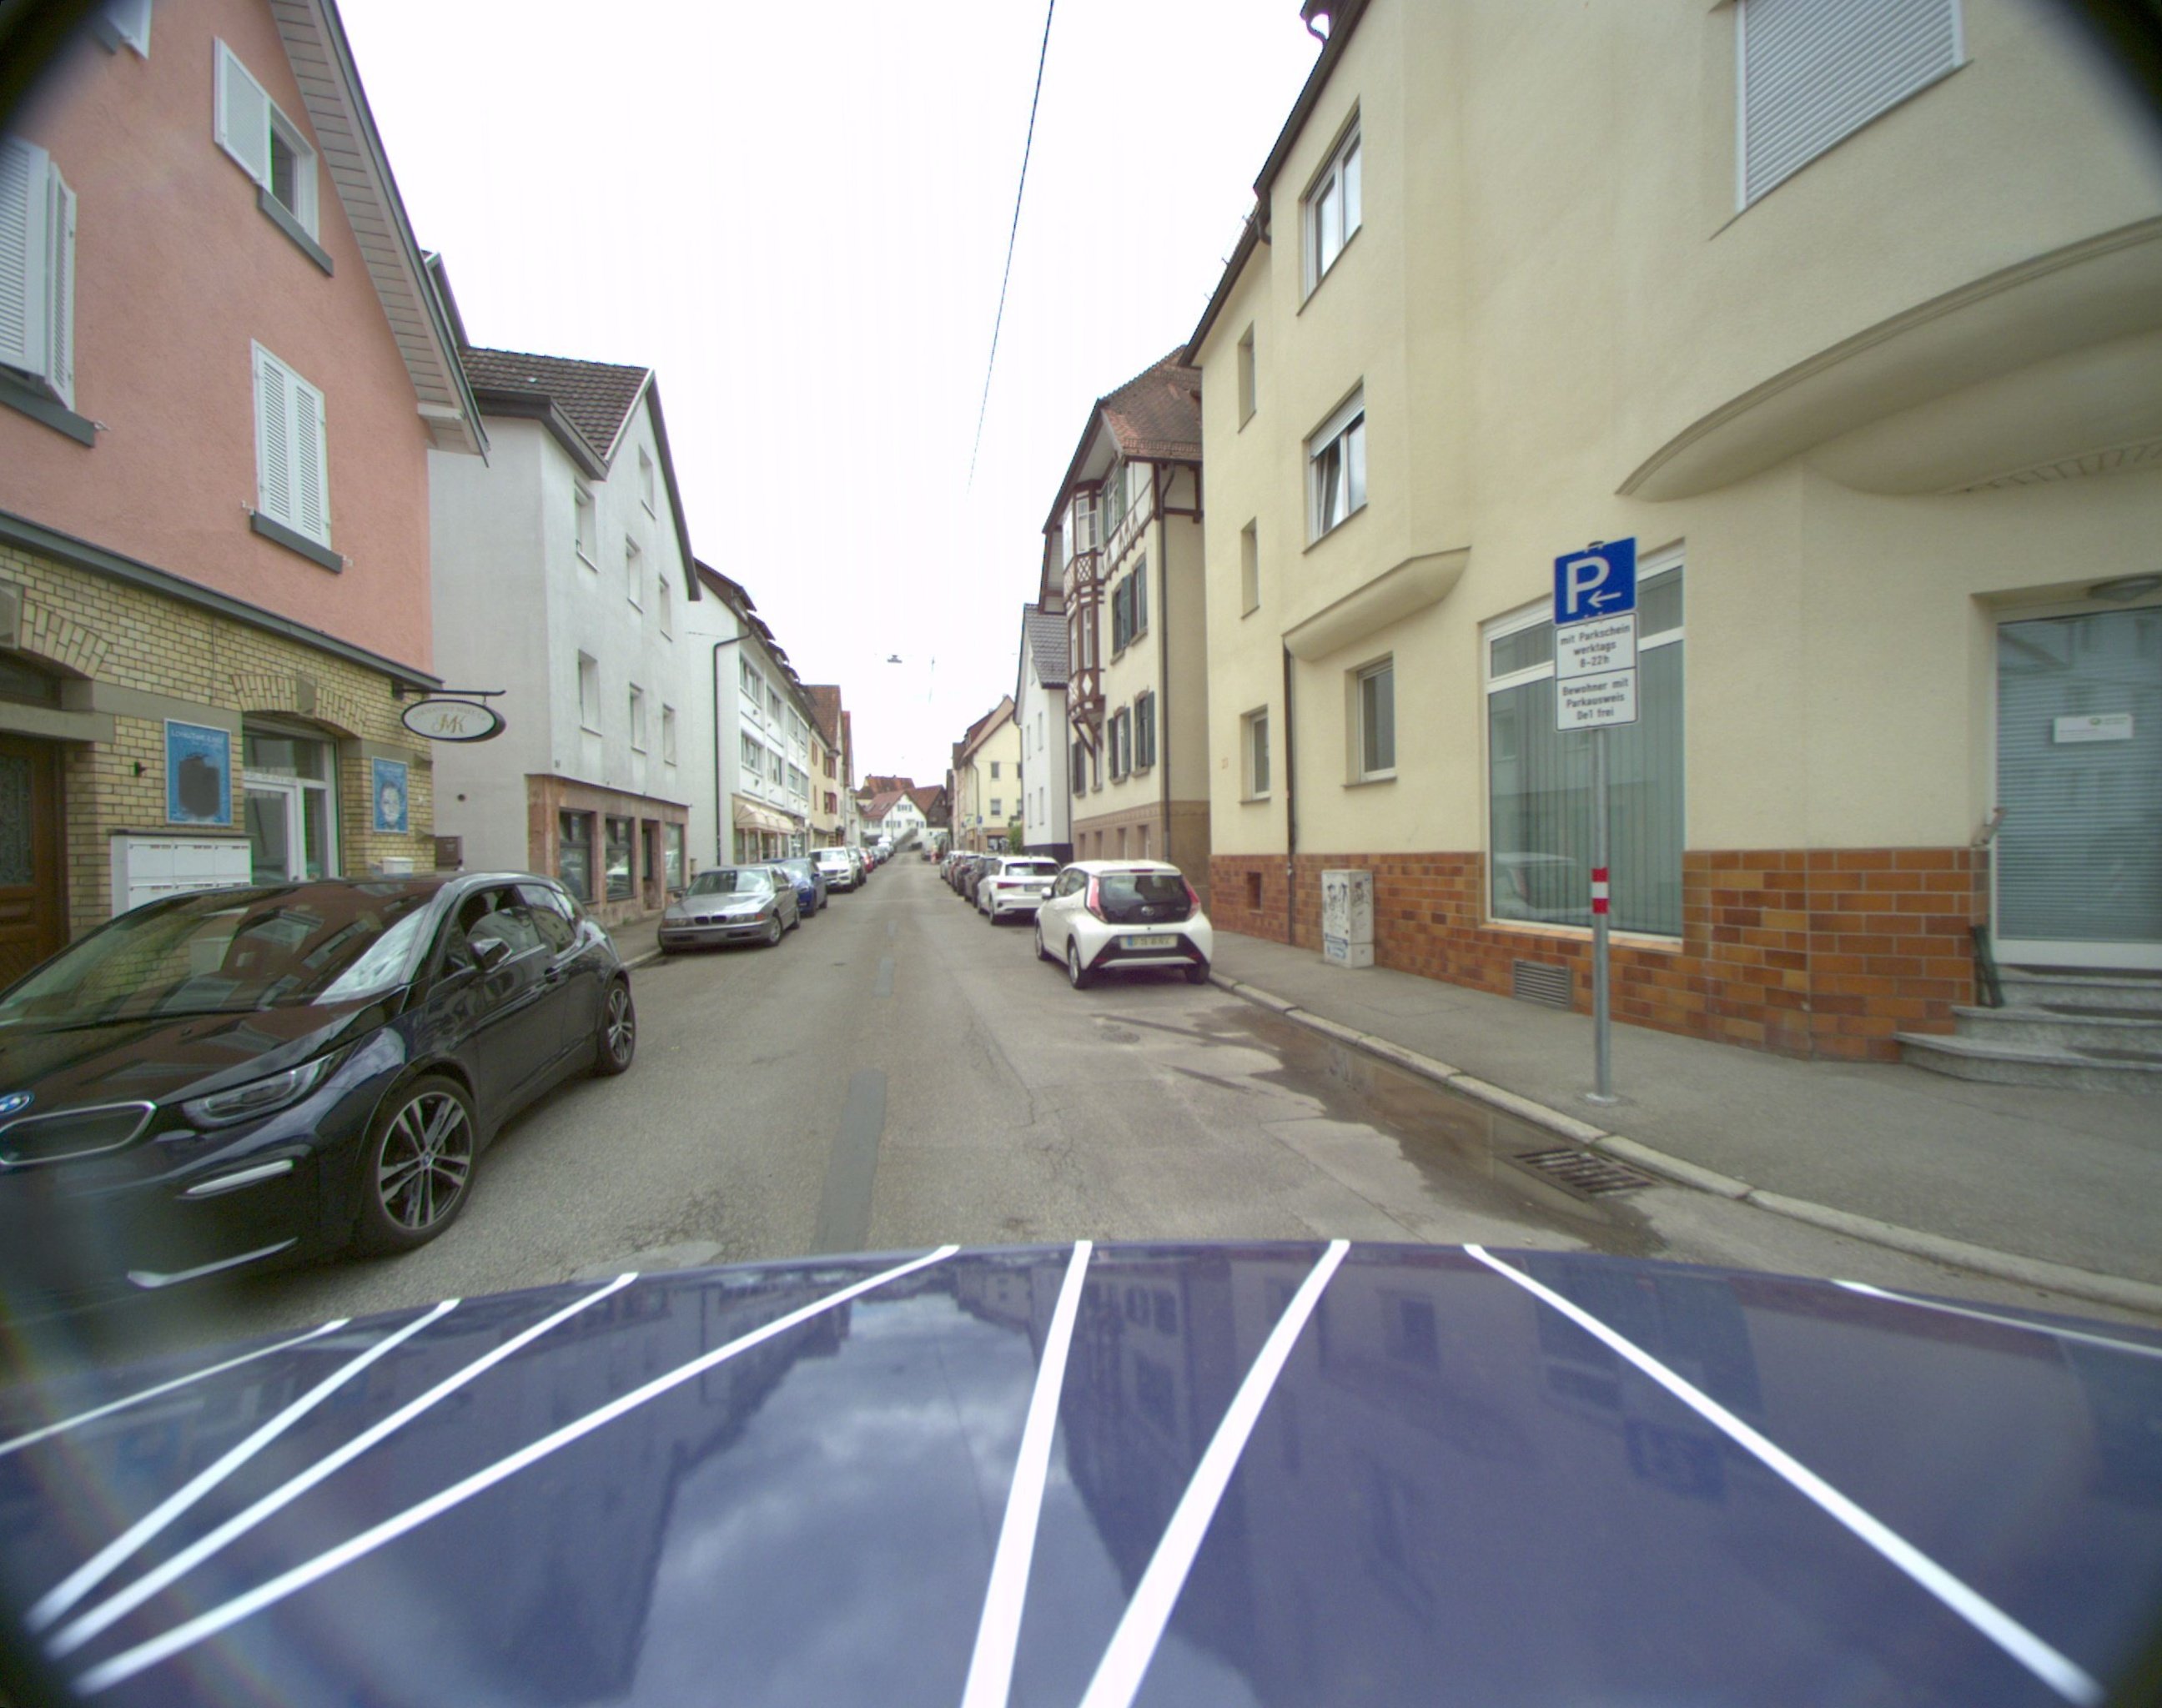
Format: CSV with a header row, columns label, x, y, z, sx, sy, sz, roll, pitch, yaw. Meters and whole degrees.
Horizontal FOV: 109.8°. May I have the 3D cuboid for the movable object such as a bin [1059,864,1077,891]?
label,x,y,z,sx,sy,sz,roll,pitch,yaw
movable object such as a bin,-0.467,0.848,27.466,0.515,0.926,0.603,-2,1,-12

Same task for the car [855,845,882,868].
label,x,y,z,sx,sy,sz,roll,pitch,yaw
car,-15.554,0.147,55.756,1.607,1.520,3.983,-5,3,-12

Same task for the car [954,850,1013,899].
label,x,y,z,sx,sy,sz,roll,pitch,yaw
car,-3.531,0.677,26.910,1.758,1.501,4.079,1,1,-11

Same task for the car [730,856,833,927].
label,x,y,z,sx,sy,sz,roll,pitch,yaw
car,-7.552,0.864,19.524,1.758,1.424,3.922,-3,2,-12

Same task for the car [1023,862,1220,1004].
label,x,y,z,sx,sy,sz,roll,pitch,yaw
car,0.323,0.865,10.148,1.673,1.425,3.811,-1,1,-12

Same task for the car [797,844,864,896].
label,x,y,z,sx,sy,sz,roll,pitch,yaw
car,-9.497,0.532,29.154,1.902,1.696,4.488,-2,2,-12

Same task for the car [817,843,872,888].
label,x,y,z,sx,sy,sz,roll,pitch,yaw
car,-10.545,0.455,34.179,1.902,1.780,4.338,-2,2,-12

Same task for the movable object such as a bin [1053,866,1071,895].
label,x,y,z,sx,sy,sz,roll,pitch,yaw
movable object such as a bin,-0.696,0.965,28.094,0.515,1.009,0.603,-2,1,-12

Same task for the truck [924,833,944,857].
label,x,y,z,sx,sy,sz,roll,pitch,yaw
truck,-15.044,-0.961,77.579,1.785,2.378,5.477,-2,2,-13

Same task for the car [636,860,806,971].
label,x,y,z,sx,sy,sz,roll,pitch,yaw
car,-6.336,0.955,13.959,1.793,1.409,4.571,-4,3,-13

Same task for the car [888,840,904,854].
label,x,y,z,sx,sy,sz,roll,pitch,yaw
car,-21.686,-0.867,89.194,1.607,1.464,3.546,-5,3,-12

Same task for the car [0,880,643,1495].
label,x,y,z,sx,sy,sz,roll,pitch,yaw
car,-3.946,1.041,3.963,1.824,1.534,4.021,-3,1,-15

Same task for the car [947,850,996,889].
label,x,y,z,sx,sy,sz,roll,pitch,yaw
car,-4.700,0.629,32.279,1.758,1.441,4.061,1,1,-12

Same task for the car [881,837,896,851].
label,x,y,z,sx,sy,sz,roll,pitch,yaw
car,-25.153,-1.306,99.468,1.607,1.717,3.546,-5,3,-12

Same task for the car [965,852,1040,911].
label,x,y,z,sx,sy,sz,roll,pitch,yaw
car,-2.411,0.736,22.327,1.758,1.448,4.364,1,1,-11

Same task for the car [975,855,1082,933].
label,x,y,z,sx,sy,sz,roll,pitch,yaw
car,-1.328,0.801,17.172,1.758,1.424,4.364,1,1,-12

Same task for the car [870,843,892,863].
label,x,y,z,sx,sy,sz,roll,pitch,yaw
car,-17.104,-0.133,65.119,1.607,1.464,3.983,-5,3,-12

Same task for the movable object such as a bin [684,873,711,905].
label,x,y,z,sx,sy,sz,roll,pitch,yaw
movable object such as a bin,-11.208,1.019,22.222,0.571,0.924,0.521,1,1,-12

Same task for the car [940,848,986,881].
label,x,y,z,sx,sy,sz,roll,pitch,yaw
car,-5.920,0.493,37.650,1.758,1.423,4.342,1,1,-15

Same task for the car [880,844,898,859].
label,x,y,z,sx,sy,sz,roll,pitch,yaw
car,-20.286,-0.296,80.170,1.607,1.464,3.546,-5,3,-12

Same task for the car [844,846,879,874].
label,x,y,z,sx,sy,sz,roll,pitch,yaw
car,-13.823,0.322,48.024,1.675,1.520,3.983,-4,2,-11

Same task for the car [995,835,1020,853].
label,x,y,z,sx,sy,sz,roll,pitch,yaw
car,-6.472,-0.902,66.735,1.607,1.464,3.546,-5,3,-12
